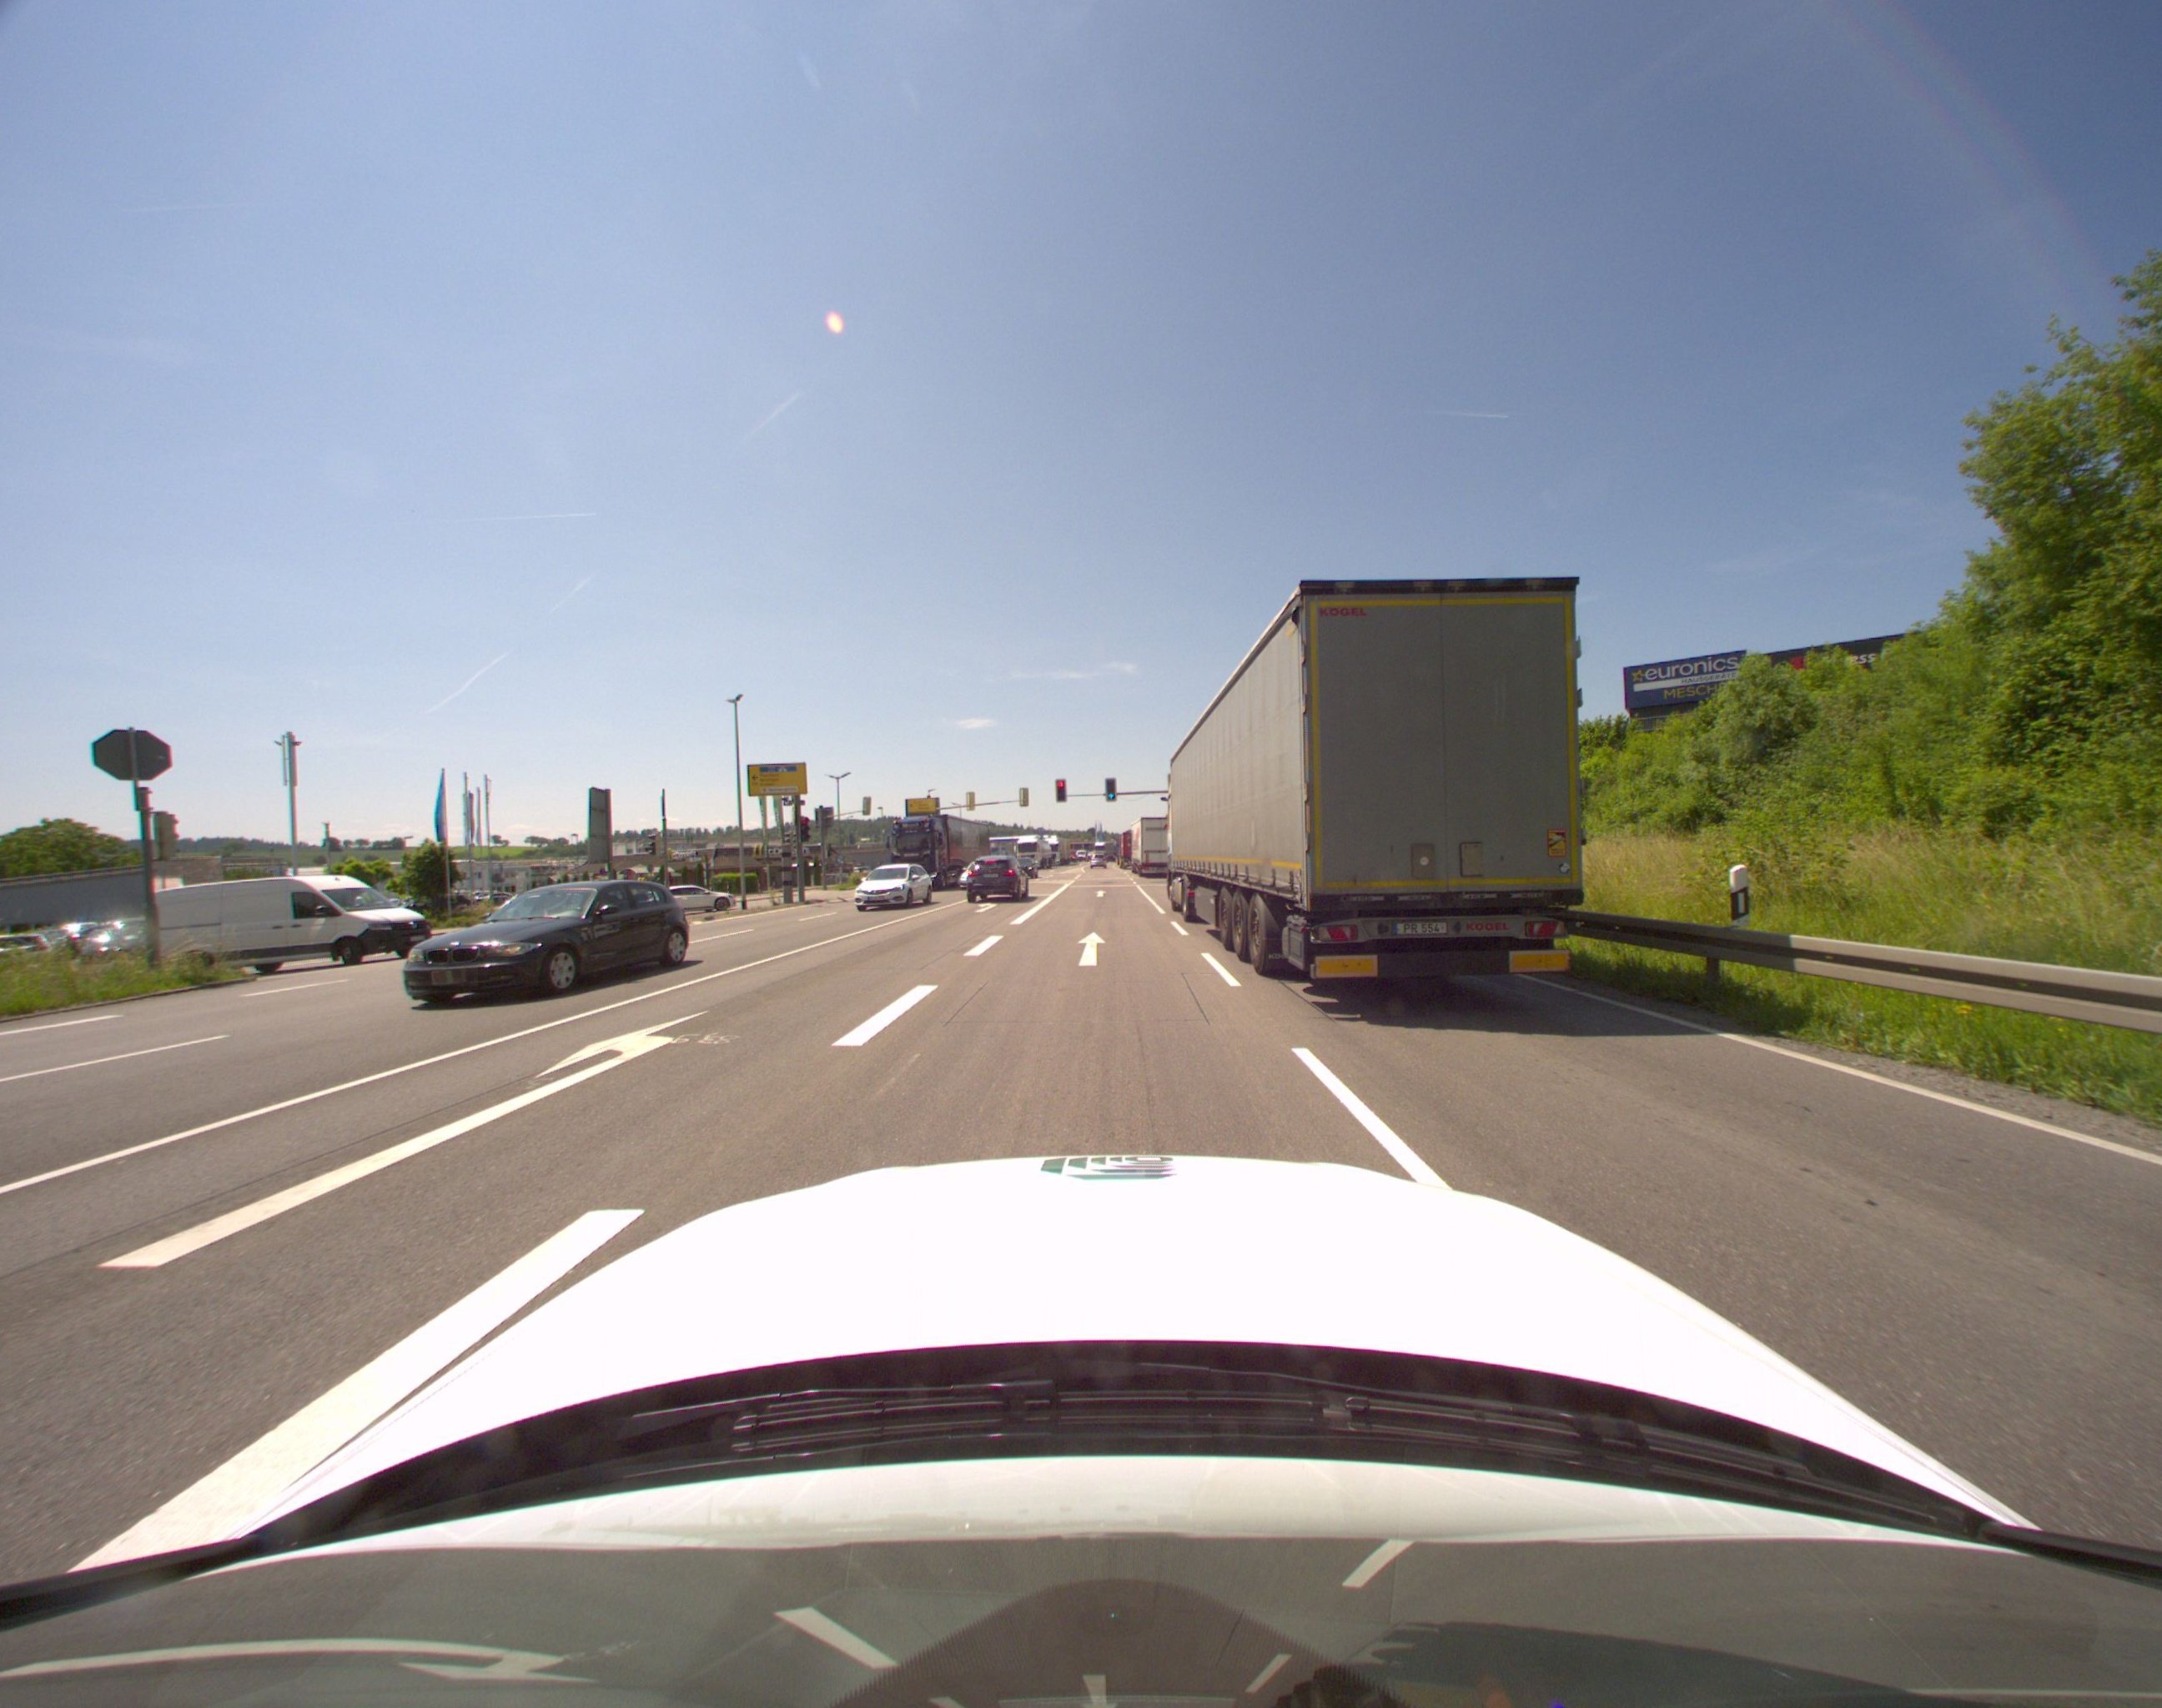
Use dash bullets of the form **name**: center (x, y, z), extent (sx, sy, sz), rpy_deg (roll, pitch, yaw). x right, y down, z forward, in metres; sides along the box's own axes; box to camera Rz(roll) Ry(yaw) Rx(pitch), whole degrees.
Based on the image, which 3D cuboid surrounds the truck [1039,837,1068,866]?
- **truck**: center (-3.958, -0.281, 121.381), extent (2.922, 3.950, 13.877), rpy_deg (-2, 0, 3)

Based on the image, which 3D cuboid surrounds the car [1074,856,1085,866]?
- **car**: center (-0.334, 1.437, 161.844), extent (1.896, 2.014, 4.005), rpy_deg (-1, -1, 5)

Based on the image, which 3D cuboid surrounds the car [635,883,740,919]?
- **car**: center (-18.165, 2.121, 37.720), extent (1.767, 1.480, 4.038), rpy_deg (-2, -2, 43)

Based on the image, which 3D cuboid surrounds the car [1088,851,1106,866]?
- **car**: center (1.832, 0.488, 93.422), extent (1.797, 1.670, 4.296), rpy_deg (-1, 0, 4)

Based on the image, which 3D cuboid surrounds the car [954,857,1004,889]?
- **car**: center (-5.216, 0.957, 42.350), extent (1.804, 1.508, 4.947), rpy_deg (-2, 0, 1)

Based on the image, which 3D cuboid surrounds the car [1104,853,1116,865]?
- **car**: center (5.312, 0.902, 147.978), extent (1.984, 2.013, 4.005), rpy_deg (-2, 0, 5)

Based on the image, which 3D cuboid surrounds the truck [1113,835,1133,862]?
- **truck**: center (6.110, -0.739, 119.150), extent (2.598, 3.717, 9.451), rpy_deg (-1, -1, 2)

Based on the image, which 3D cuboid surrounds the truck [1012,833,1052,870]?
- **truck**: center (-5.673, -0.257, 96.537), extent (2.922, 3.950, 14.250), rpy_deg (-2, 0, 3)

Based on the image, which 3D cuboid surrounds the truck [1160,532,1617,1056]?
- **truck**: center (3.520, -0.369, 15.579), extent (2.745, 4.639, 16.657), rpy_deg (-1, -1, 1)

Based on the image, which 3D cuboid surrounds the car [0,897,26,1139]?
- **car**: center (-7.369, 1.014, 2.808), extent (1.783, 1.426, 4.264), rpy_deg (-4, 0, 1)

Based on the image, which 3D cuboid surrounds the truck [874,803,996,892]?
- **truck**: center (-8.285, -0.330, 49.851), extent (3.133, 4.349, 17.557), rpy_deg (-3, 0, 3)

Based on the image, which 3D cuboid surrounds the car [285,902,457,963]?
- **car**: center (-25.698, 2.776, 29.608), extent (1.727, 1.600, 4.439), rpy_deg (-4, 1, 41)

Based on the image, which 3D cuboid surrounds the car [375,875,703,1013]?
- **car**: center (-7.119, 1.076, 11.290), extent (1.655, 1.403, 4.019), rpy_deg (-3, 0, 3)

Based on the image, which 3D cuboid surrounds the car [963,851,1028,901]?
- **car**: center (-3.034, 0.766, 29.704), extent (1.788, 1.627, 4.369), rpy_deg (-2, -1, 0)

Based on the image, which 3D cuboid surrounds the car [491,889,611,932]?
- **car**: center (-23.934, 2.487, 36.898), extent (1.727, 1.601, 4.224), rpy_deg (-3, 0, 41)

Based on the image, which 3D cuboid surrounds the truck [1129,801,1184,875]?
- **truck**: center (5.291, -0.847, 60.158), extent (2.864, 4.639, 16.657), rpy_deg (-1, -1, 1)

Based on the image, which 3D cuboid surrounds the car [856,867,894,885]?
- **car**: center (-24.999, 2.652, 98.902), extent (1.918, 2.013, 4.026), rpy_deg (-3, 0, 38)

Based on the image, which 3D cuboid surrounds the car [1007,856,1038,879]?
- **car**: center (-4.182, 0.928, 58.667), extent (1.657, 1.508, 3.907), rpy_deg (-3, 0, 3)

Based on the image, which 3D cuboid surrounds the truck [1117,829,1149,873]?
- **truck**: center (5.743, -0.127, 92.467), extent (2.864, 4.479, 16.657), rpy_deg (-1, -1, 1)

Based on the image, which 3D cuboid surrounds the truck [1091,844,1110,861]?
- **truck**: center (5.006, -0.301, 201.782), extent (3.253, 3.950, 13.890), rpy_deg (-1, -1, 7)

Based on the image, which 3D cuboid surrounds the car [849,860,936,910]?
- **car**: center (-6.432, 1.049, 28.287), extent (1.733, 1.503, 4.408), rpy_deg (-4, -1, 3)

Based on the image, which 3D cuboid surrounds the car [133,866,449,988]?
- **car**: center (-21.357, 1.888, 22.289), extent (5.980, 2.487, 2.192), rpy_deg (-6, 0, -5)

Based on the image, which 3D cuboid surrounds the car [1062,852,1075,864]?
- **car**: center (-2.205, 0.758, 143.375), extent (1.984, 2.014, 4.005), rpy_deg (-1, -1, 5)

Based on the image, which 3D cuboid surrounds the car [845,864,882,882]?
- **car**: center (-26.761, 2.268, 100.207), extent (1.918, 2.013, 4.026), rpy_deg (-3, 0, 38)
